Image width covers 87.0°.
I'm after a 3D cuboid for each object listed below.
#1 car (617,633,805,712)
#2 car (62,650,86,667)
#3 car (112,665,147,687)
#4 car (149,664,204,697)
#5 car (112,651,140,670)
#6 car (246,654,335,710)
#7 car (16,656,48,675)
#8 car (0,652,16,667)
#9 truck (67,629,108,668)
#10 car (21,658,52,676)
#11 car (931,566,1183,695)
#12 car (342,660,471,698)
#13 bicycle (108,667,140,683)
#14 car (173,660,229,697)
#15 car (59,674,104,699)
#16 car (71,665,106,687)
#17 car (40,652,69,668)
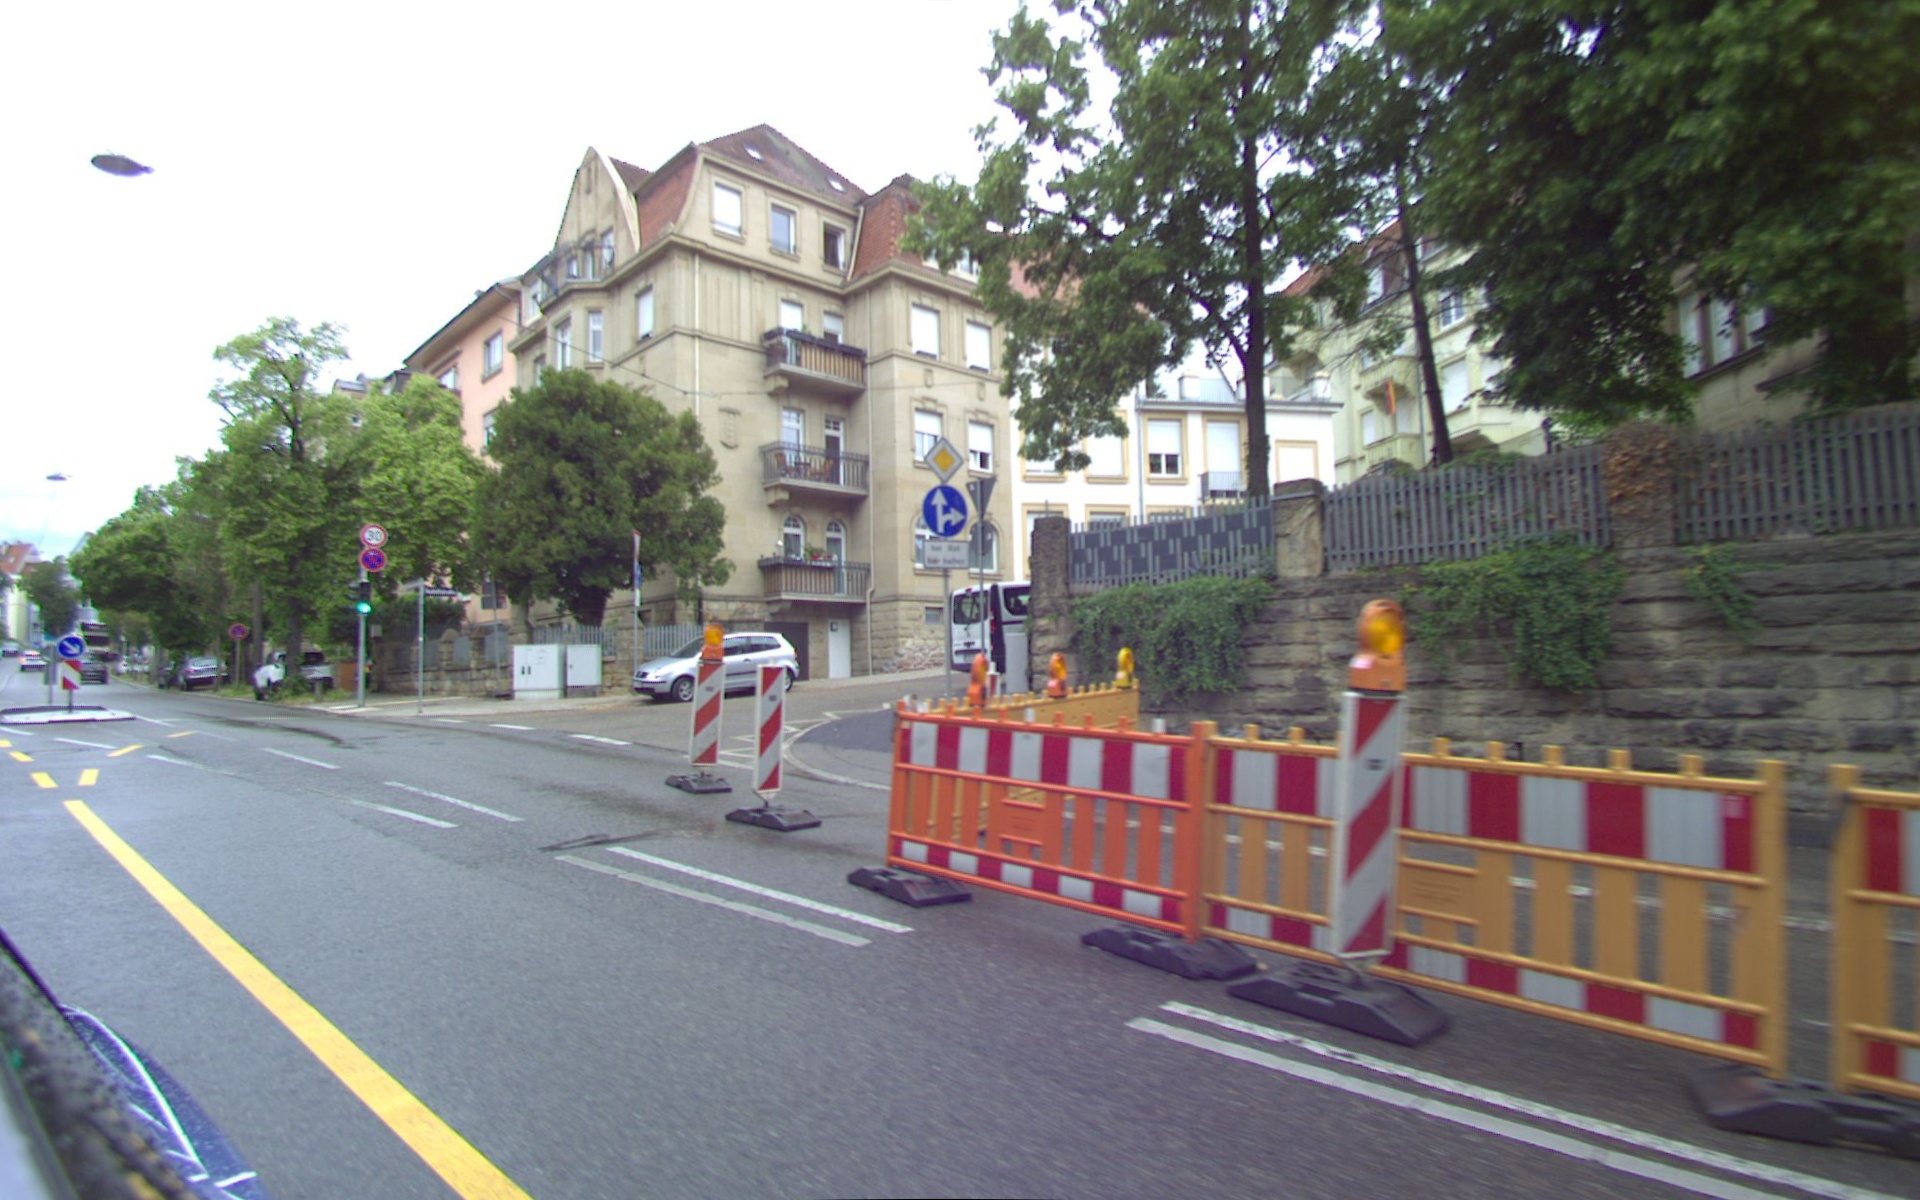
[{"bbox_3d":[-5.752,1.614,23.547,3.813,1.419,1.830,-3,1,-38],"label":"car"},{"bbox_3d":[-96.913,6.396,110.716,1.630,1.721,4.123,4,-4,-37],"label":"car"},{"bbox_3d":[-65.337,5.958,79.587,4.304,1.571,1.721,-3,-2,45],"label":"car"},{"bbox_3d":[-42.171,4.292,54.445,4.303,1.571,1.722,-3,-1,44],"label":"car"},{"bbox_3d":[-81.879,5.939,99.364,1.971,1.607,3.835,-2,0,-38],"label":"car"},{"bbox_3d":[-21.744,2.593,32.794,1.721,1.571,4.306,0,-2,-43],"label":"car"},{"bbox_3d":[-77.583,5.462,84.682,1.750,1.529,4.106,3,-4,-40],"label":"car"},{"bbox_3d":[-104.614,6.436,110.447,1.896,1.573,4.019,6,-6,-39],"label":"car"},{"bbox_3d":[-90.689,5.104,105.149,2.616,3.884,9.315,5,-5,-43],"label":"truck"},{"bbox_3d":[-81.896,5.931,89.772,1.740,1.442,3.893,2,-2,-38],"label":"car"},{"bbox_3d":[2.004,0.578,20.675,4.599,2.063,2.032,-6,-1,-29],"label":"car"},{"bbox_3d":[-21.011,2.968,38.515,3.941,1.337,1.838,2,-5,-45],"label":"car"},{"bbox_3d":[-67.584,6.039,81.822,1.952,1.245,0.658,3,-4,-44],"label":"bicycle"},{"bbox_3d":[-36.425,3.713,48.527,1.721,1.571,4.306,0,-2,-43],"label":"car"},{"bbox_3d":[-57.385,5.682,66.085,1.794,1.529,4.550,4,-8,-45],"label":"car"},{"bbox_3d":[-71.482,6.233,82.959,1.752,1.529,4.593,5,-4,-45],"label":"car"},{"bbox_3d":[-88.263,5.876,98.644,1.689,1.491,4.122,4,-5,-37],"label":"car"}]
